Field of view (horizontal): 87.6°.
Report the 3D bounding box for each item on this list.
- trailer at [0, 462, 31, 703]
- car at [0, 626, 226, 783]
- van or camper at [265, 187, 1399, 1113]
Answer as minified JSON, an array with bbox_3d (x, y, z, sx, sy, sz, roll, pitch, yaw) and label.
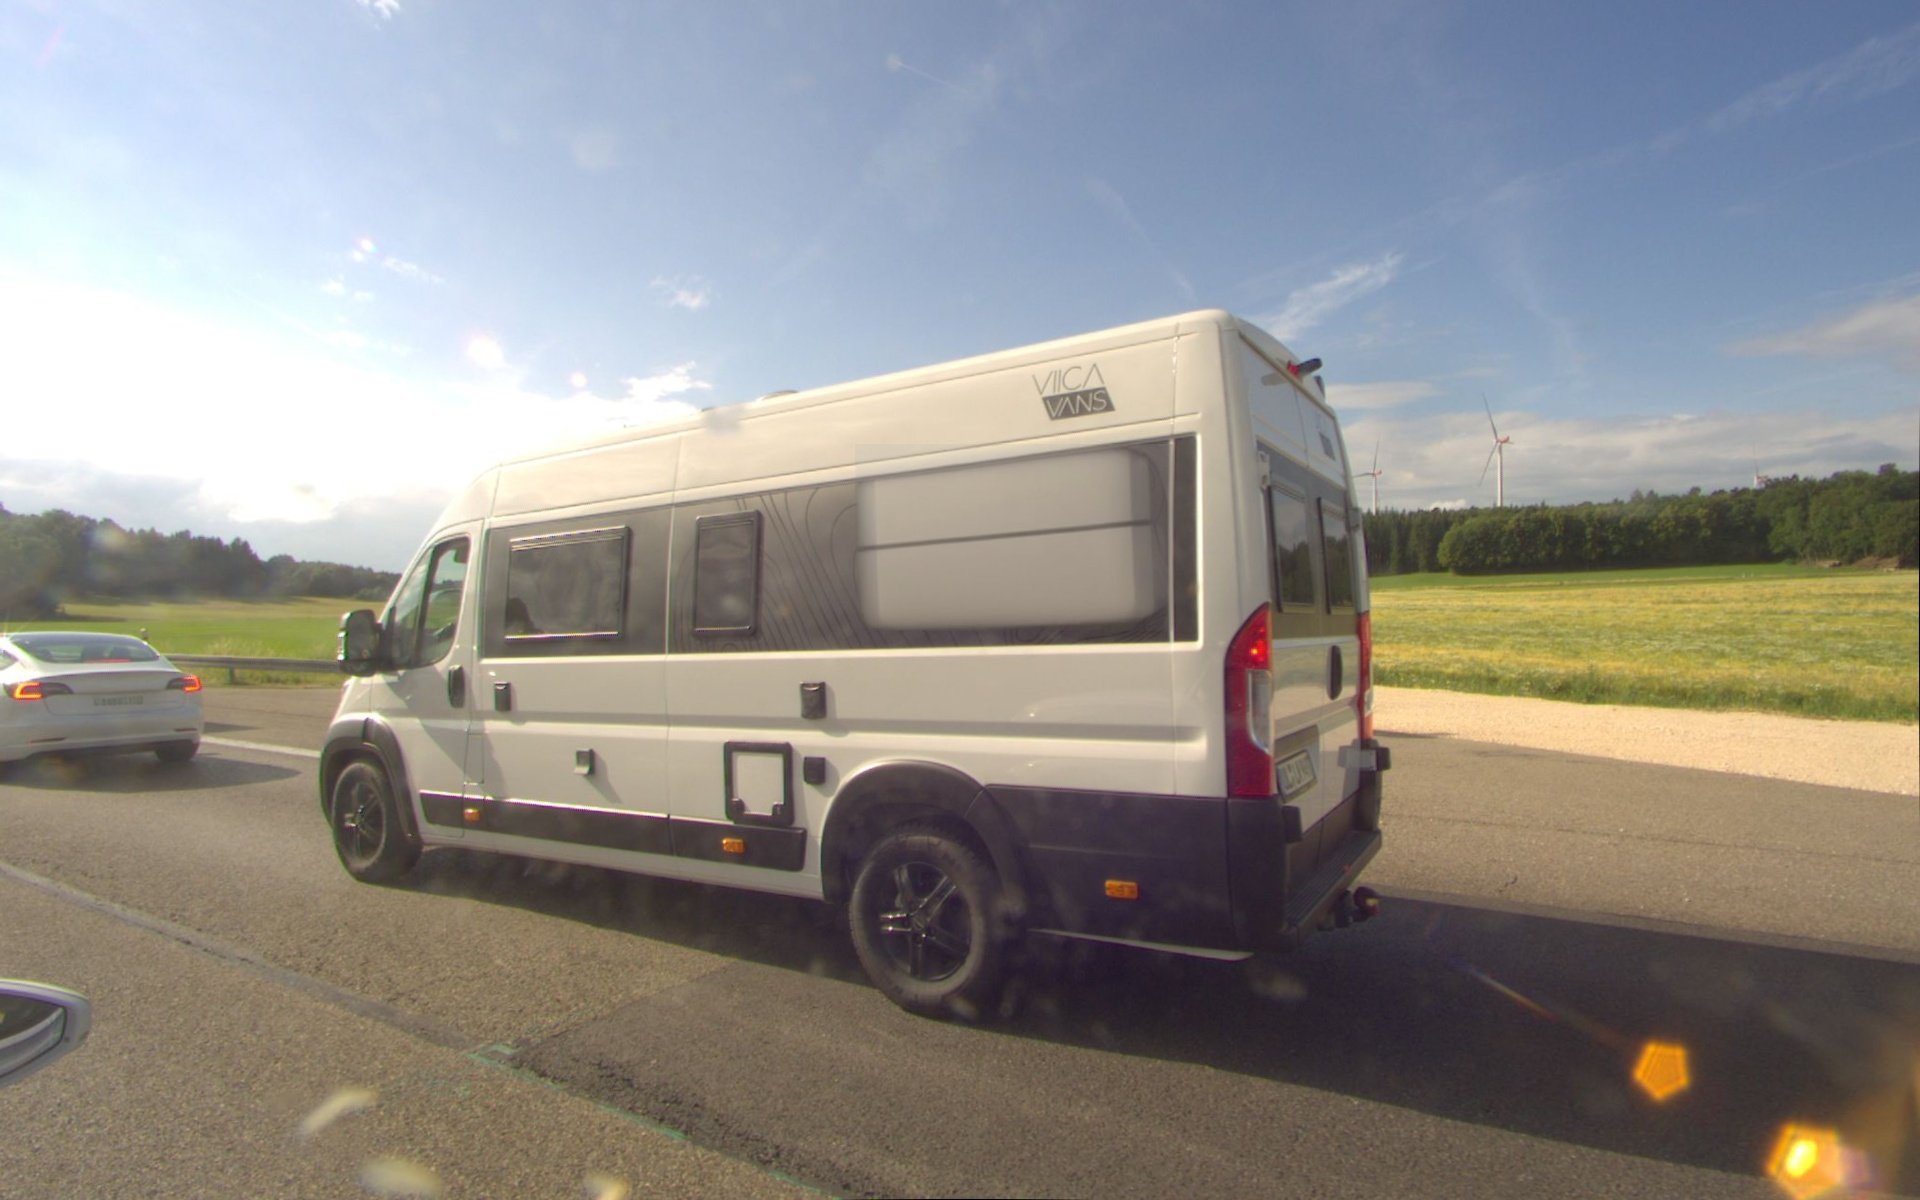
[{"bbox_3d":[-22.314,-0.121,19.443,13.180,4.061,3.125,-2,-2,33],"label":"trailer"},{"bbox_3d":[-10.228,1.015,11.155,4.372,1.412,1.786,-1,-1,31],"label":"car"},{"bbox_3d":[-1.105,0.211,5.536,6.241,2.716,2.211,-1,-1,32],"label":"van or camper"}]
